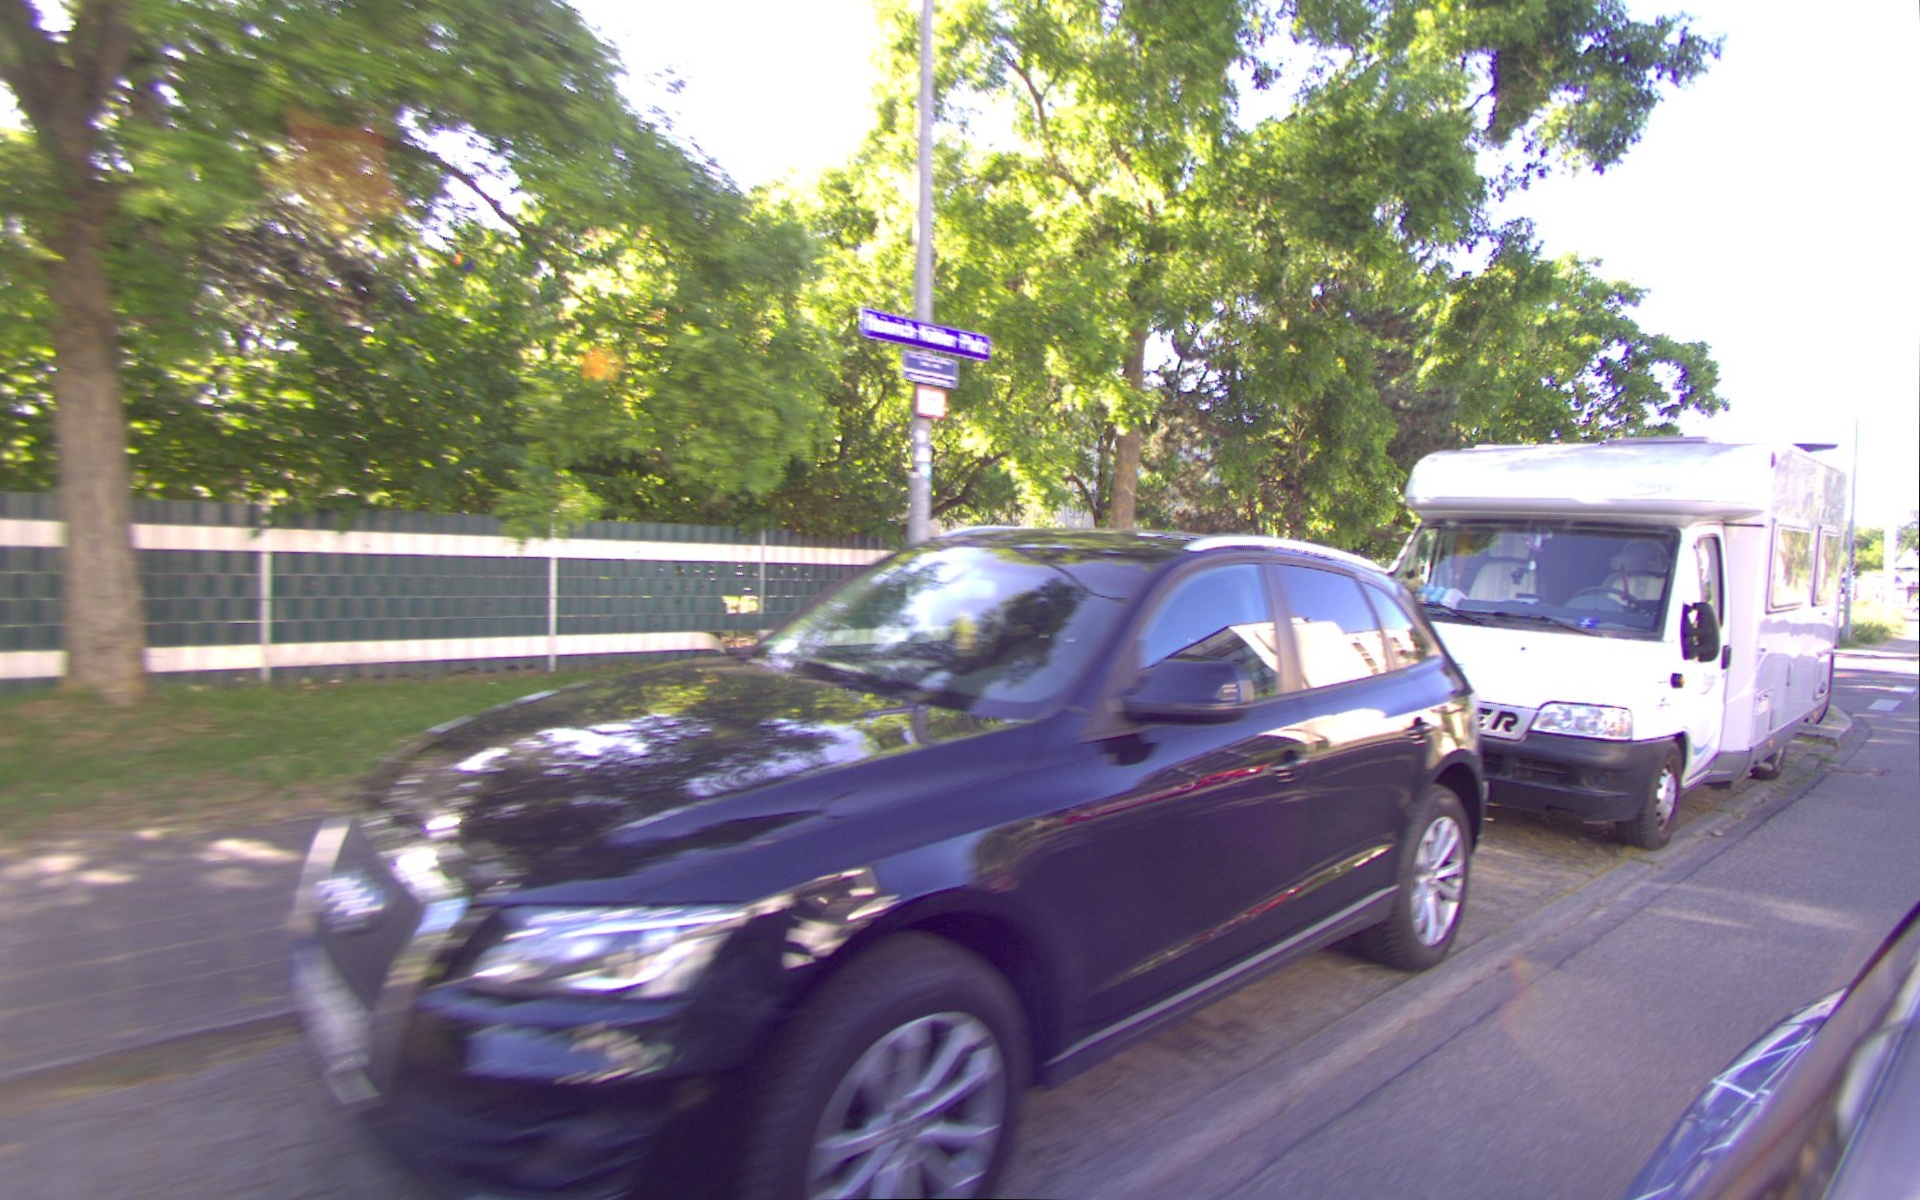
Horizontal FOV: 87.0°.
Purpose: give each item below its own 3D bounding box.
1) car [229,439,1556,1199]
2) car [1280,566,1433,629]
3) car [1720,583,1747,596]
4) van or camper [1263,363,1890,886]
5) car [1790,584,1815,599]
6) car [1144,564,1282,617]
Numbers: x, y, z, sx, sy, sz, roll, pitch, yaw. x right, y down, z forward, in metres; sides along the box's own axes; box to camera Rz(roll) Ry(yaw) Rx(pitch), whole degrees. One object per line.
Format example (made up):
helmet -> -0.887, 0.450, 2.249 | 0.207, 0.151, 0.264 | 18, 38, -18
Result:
car -> 0.270, 0.532, 3.623 | 4.461, 1.660, 1.997 | 0, 4, -44
car -> 11.323, -0.111, 29.108 | 1.794, 1.597, 3.697 | 1, 2, -35
car -> 110.310, -1.502, 144.277 | 3.923, 1.795, 1.863 | 1, 3, -34
van or camper -> 5.262, 0.014, 8.059 | 6.315, 2.627, 2.357 | 0, 6, -42
car -> 115.042, -1.123, 138.176 | 3.929, 1.882, 1.956 | 0, 3, -40
car -> 8.325, -0.352, 33.553 | 1.936, 1.561, 4.115 | 1, 1, -37
